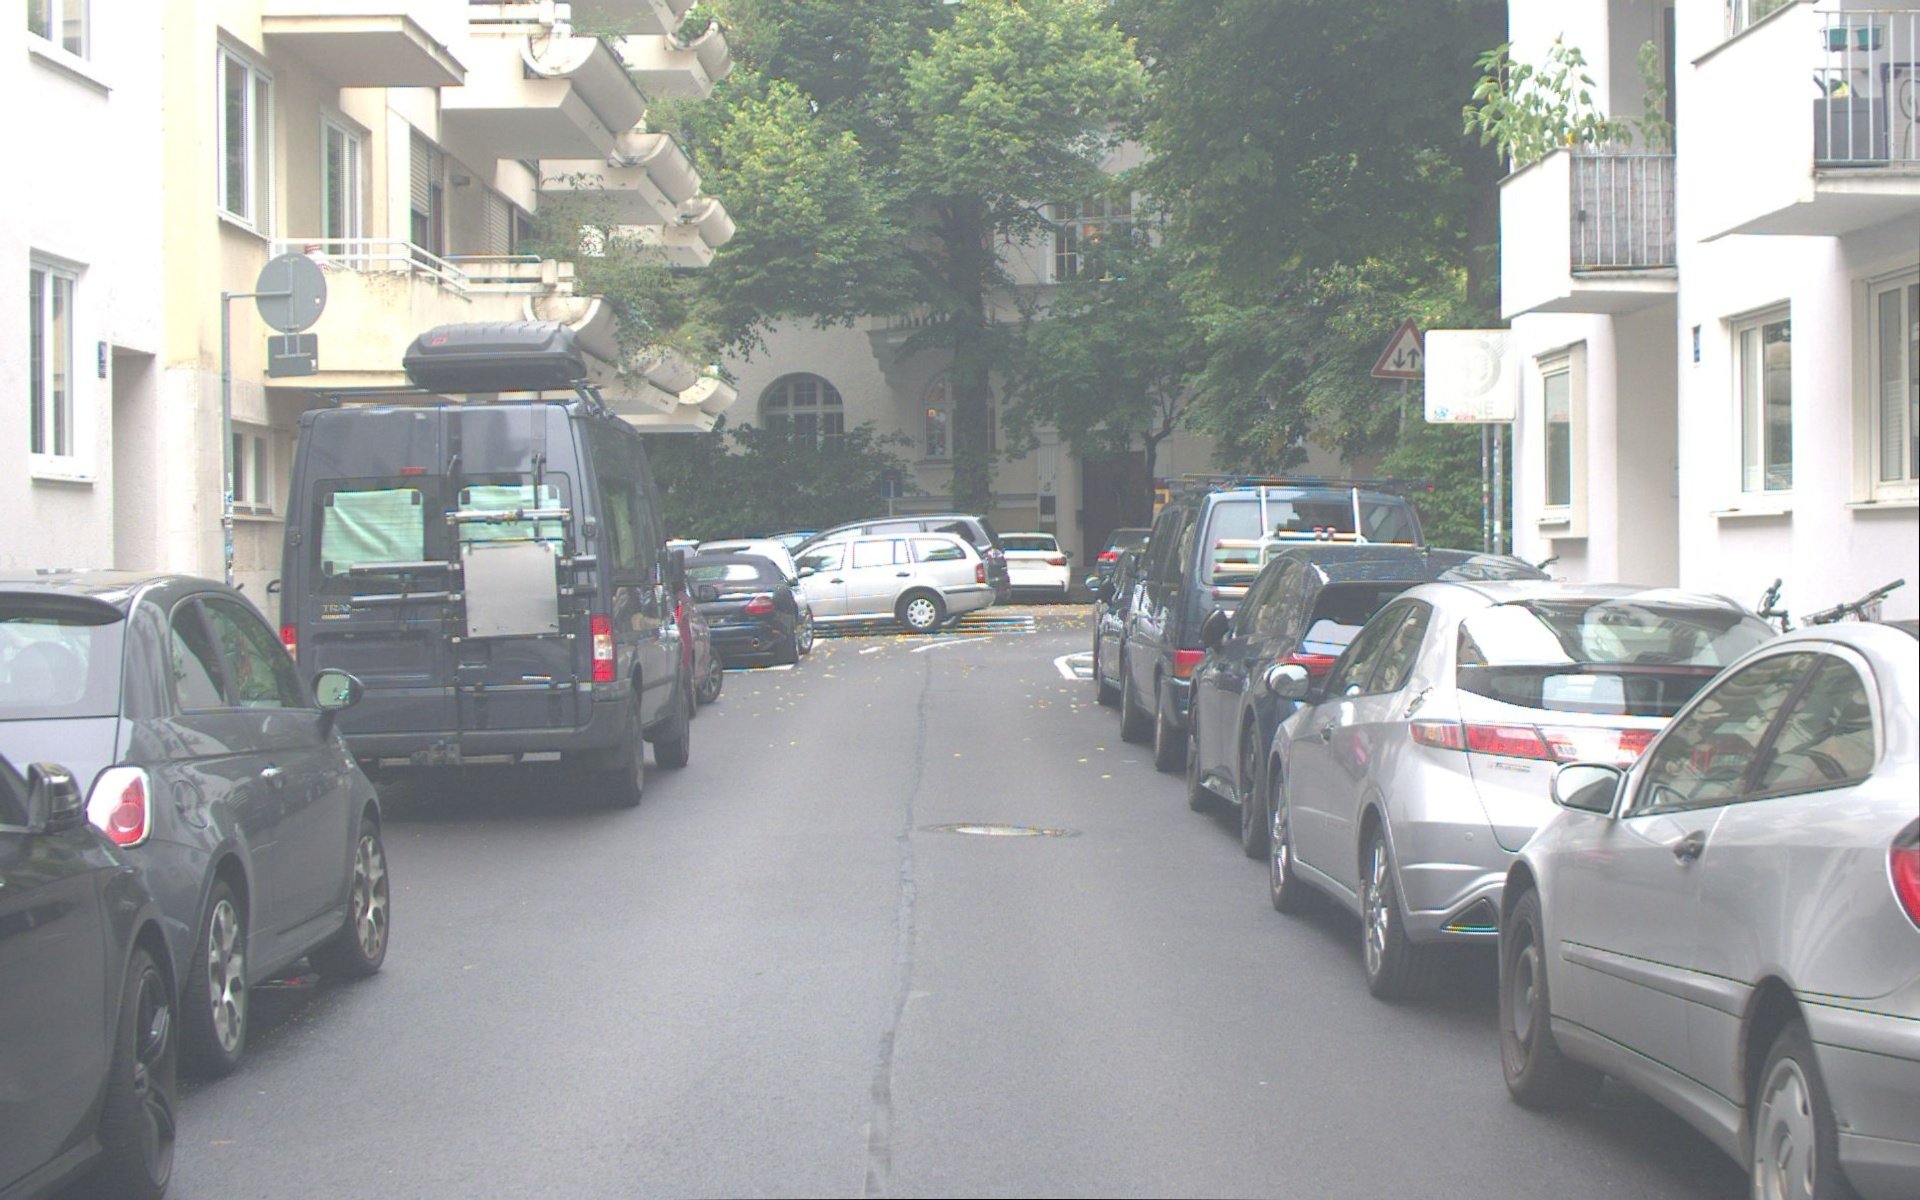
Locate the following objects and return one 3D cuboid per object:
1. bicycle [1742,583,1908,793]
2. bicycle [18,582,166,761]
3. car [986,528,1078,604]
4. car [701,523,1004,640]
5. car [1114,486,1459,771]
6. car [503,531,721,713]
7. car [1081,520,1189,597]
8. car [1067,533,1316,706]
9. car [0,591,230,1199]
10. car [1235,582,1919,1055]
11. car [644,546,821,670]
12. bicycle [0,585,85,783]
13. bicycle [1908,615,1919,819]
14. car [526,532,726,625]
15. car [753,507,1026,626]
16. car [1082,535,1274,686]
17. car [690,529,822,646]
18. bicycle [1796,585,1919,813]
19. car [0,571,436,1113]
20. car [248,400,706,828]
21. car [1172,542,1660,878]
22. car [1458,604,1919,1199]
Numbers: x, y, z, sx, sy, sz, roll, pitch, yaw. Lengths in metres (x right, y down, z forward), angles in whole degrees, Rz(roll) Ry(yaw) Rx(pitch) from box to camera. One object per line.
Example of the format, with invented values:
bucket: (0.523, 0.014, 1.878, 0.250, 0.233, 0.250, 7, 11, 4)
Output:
bicycle: (5.007, 0.490, 19.960, 0.570, 1.147, 1.431, 0, 1, -1)
bicycle: (-5.657, 0.444, 22.479, 0.463, 1.094, 1.870, 0, 1, 1)
car: (1.433, -0.683, 66.862, 1.718, 1.426, 4.000, 0, 1, 2)
car: (-1.528, -0.280, 49.633, 4.227, 1.450, 1.721, -3, 1, -1)
car: (2.166, 0.148, 24.082, 1.874, 1.785, 4.782, 0, 1, -1)
car: (-3.010, 0.147, 30.354, 1.619, 1.491, 3.709, -1, 1, -1)
car: (3.374, -0.812, 65.624, 1.792, 1.426, 3.999, 0, 1, 7)
car: (1.989, 0.126, 30.642, 1.833, 1.414, 4.059, -1, 1, -1)
car: (-2.668, 0.719, 6.592, 1.800, 1.412, 4.227, 0, 1, -2)
car: (2.225, 0.699, 13.238, 1.759, 1.426, 4.262, 3, 1, -2)
car: (-2.623, 0.049, 40.516, 1.797, 1.273, 4.617, -2, 1, -1)
bicycle: (-5.658, 0.474, 20.336, 0.463, 1.094, 1.870, 0, 1, 1)
bicycle: (4.981, 0.594, 16.344, 0.477, 0.999, 1.552, 0, 1, -1)
car: (-5.965, -0.396, 61.400, 3.287, 1.625, 1.510, 0, 1, -19)
car: (-1.131, -0.547, 54.880, 4.219, 1.678, 1.903, -3, 1, -2)
car: (2.185, 0.063, 35.372, 1.743, 1.436, 4.000, -1, 1, 1)
car: (-2.661, -0.194, 45.505, 1.560, 1.416, 3.834, -2, 1, -1)
bicycle: (4.980, 0.506, 18.446, 0.570, 1.147, 1.563, 0, 1, -1)
car: (-2.884, 0.676, 11.314, 1.611, 1.441, 3.743, -3, 1, 1)
car: (-2.843, 0.040, 21.511, 2.018, 2.271, 5.391, -2, 1, 0)
car: (2.267, 0.479, 18.320, 1.905, 1.548, 4.625, 0, 1, -1)
car: (2.427, 0.757, 8.171, 1.734, 1.424, 4.203, 0, 1, -2)
